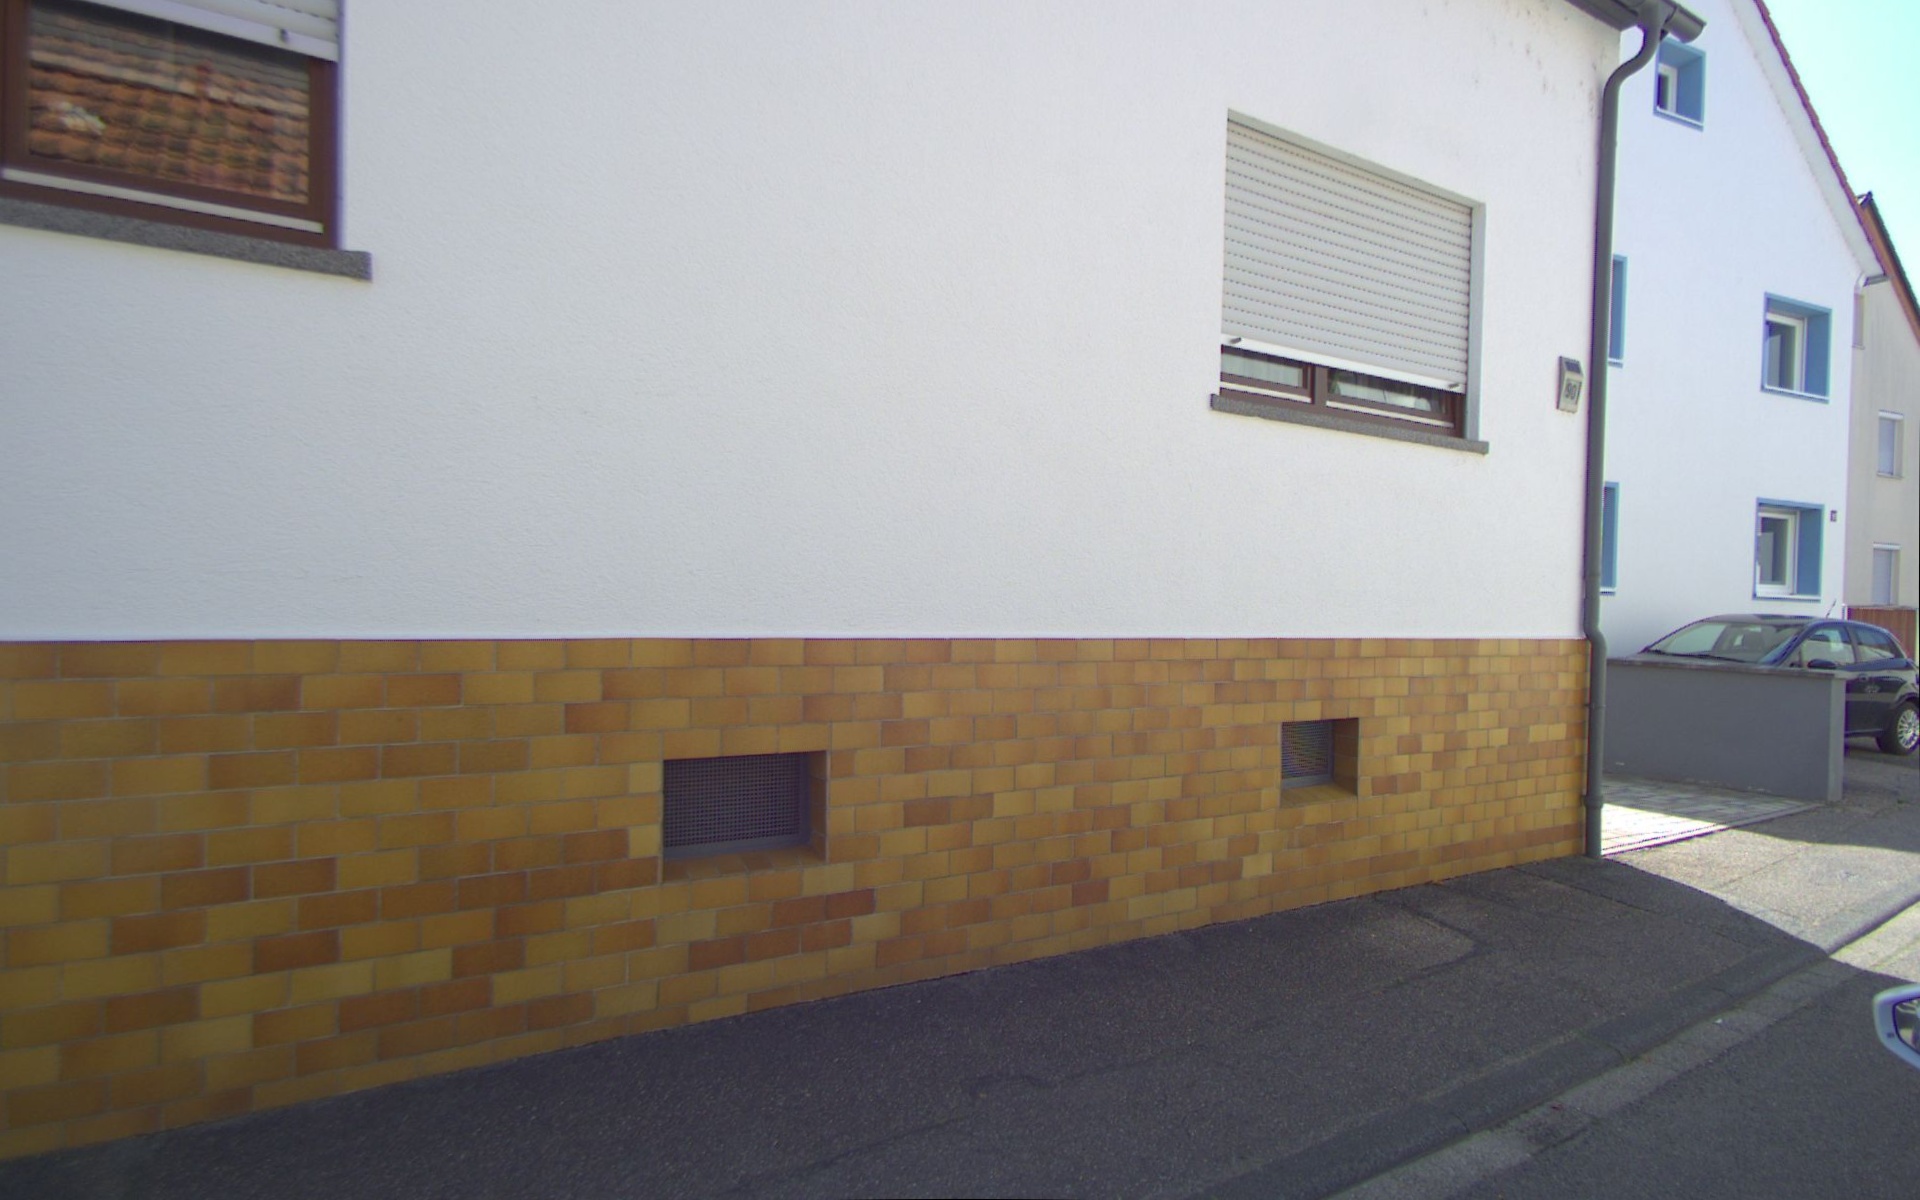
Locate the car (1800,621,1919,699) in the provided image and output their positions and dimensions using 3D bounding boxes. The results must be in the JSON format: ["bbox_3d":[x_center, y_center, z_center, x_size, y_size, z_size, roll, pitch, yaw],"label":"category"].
[{"bbox_3d":[19.160,1.190,20.124,4.407,1.367,1.765,2,0,-24],"label":"car"}]

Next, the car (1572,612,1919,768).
[{"bbox_3d":[8.907,0.913,11.250,3.733,1.474,1.633,1,1,-24],"label":"car"}]
